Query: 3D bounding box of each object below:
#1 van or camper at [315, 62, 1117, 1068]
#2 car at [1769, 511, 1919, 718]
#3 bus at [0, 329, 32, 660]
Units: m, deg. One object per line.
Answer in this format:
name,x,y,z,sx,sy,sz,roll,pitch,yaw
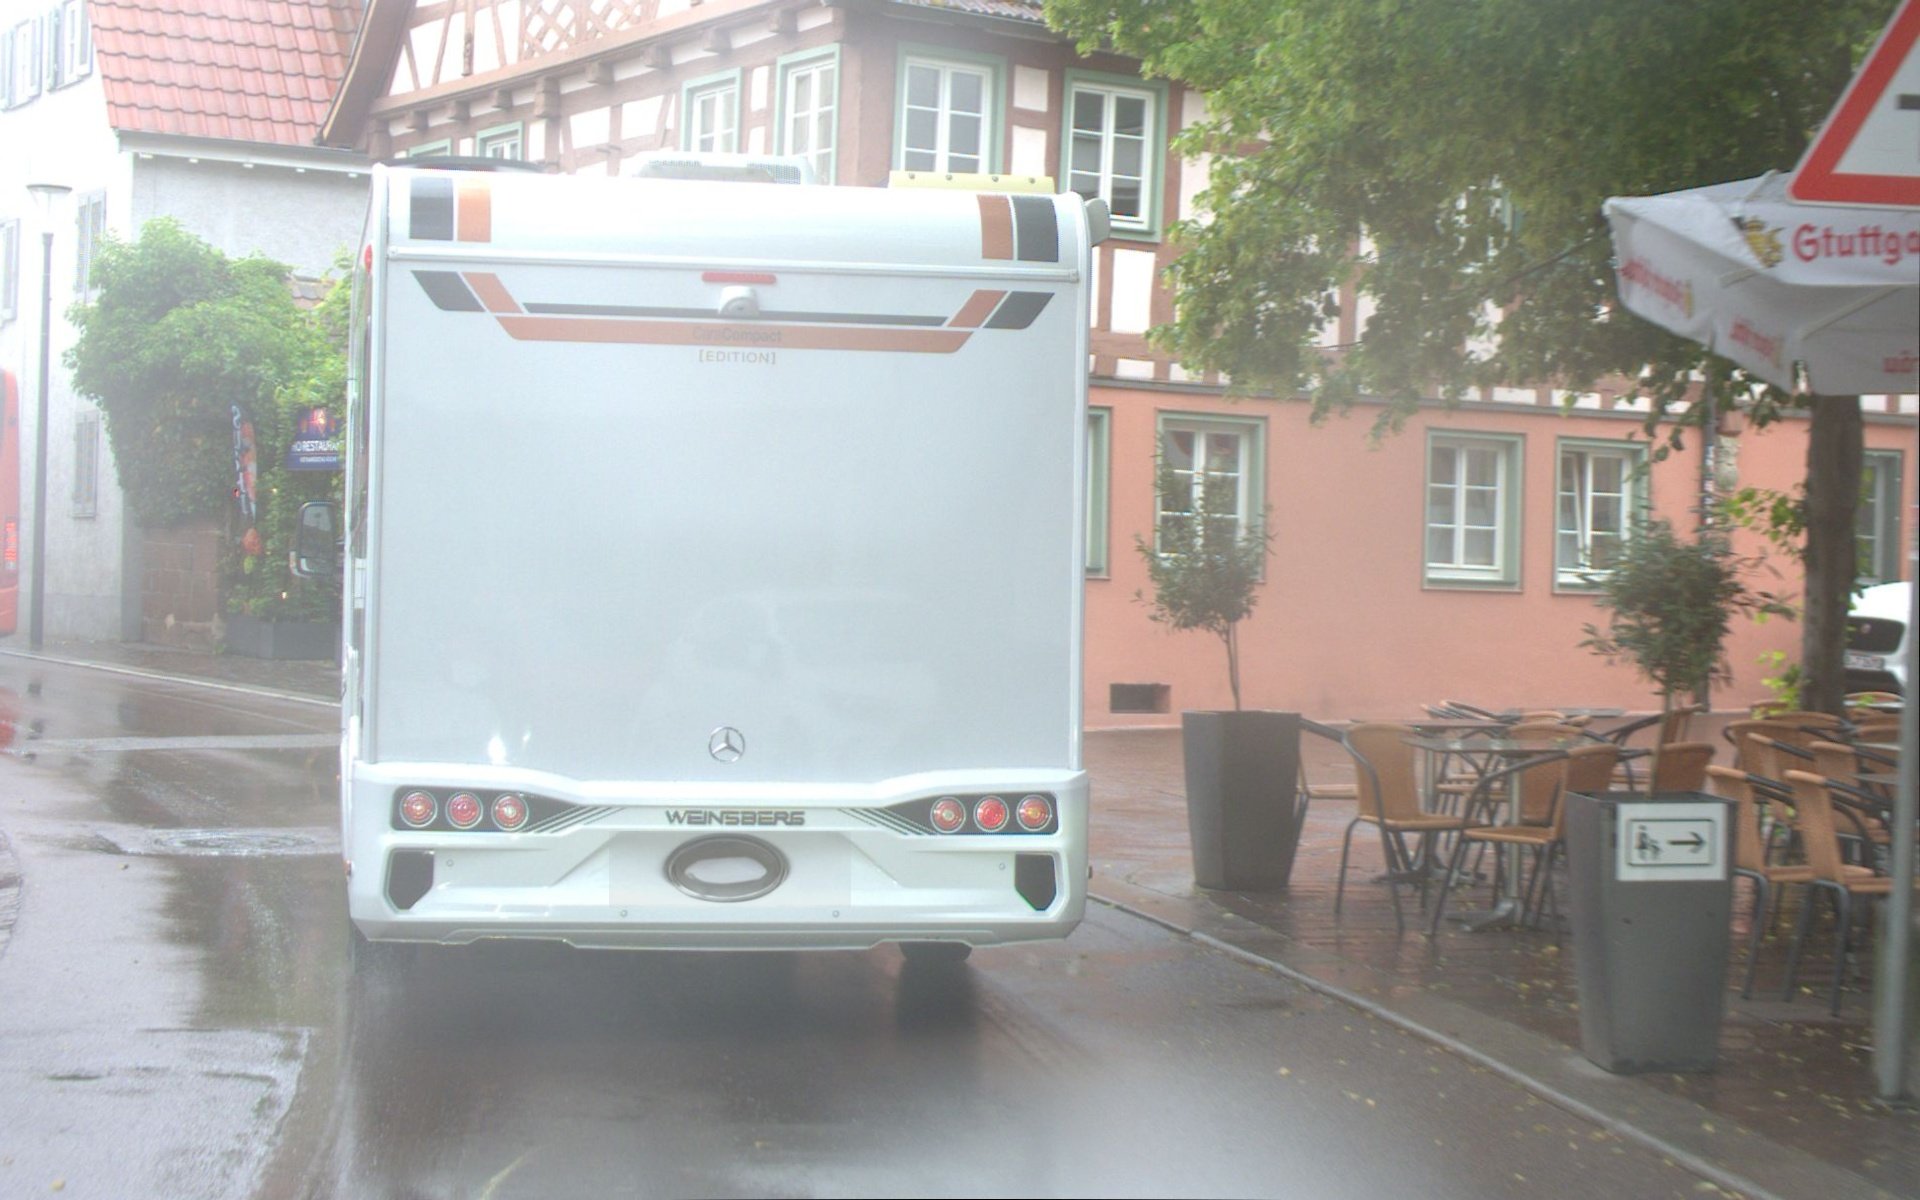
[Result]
van or camper,-1.239,-0.105,13.291,2.325,2.909,6.395,1,0,-10
car,9.448,0.137,30.149,4.451,1.626,1.945,1,4,-32
bus,-11.890,-1.079,35.806,2.641,3.216,6.603,1,0,-30
